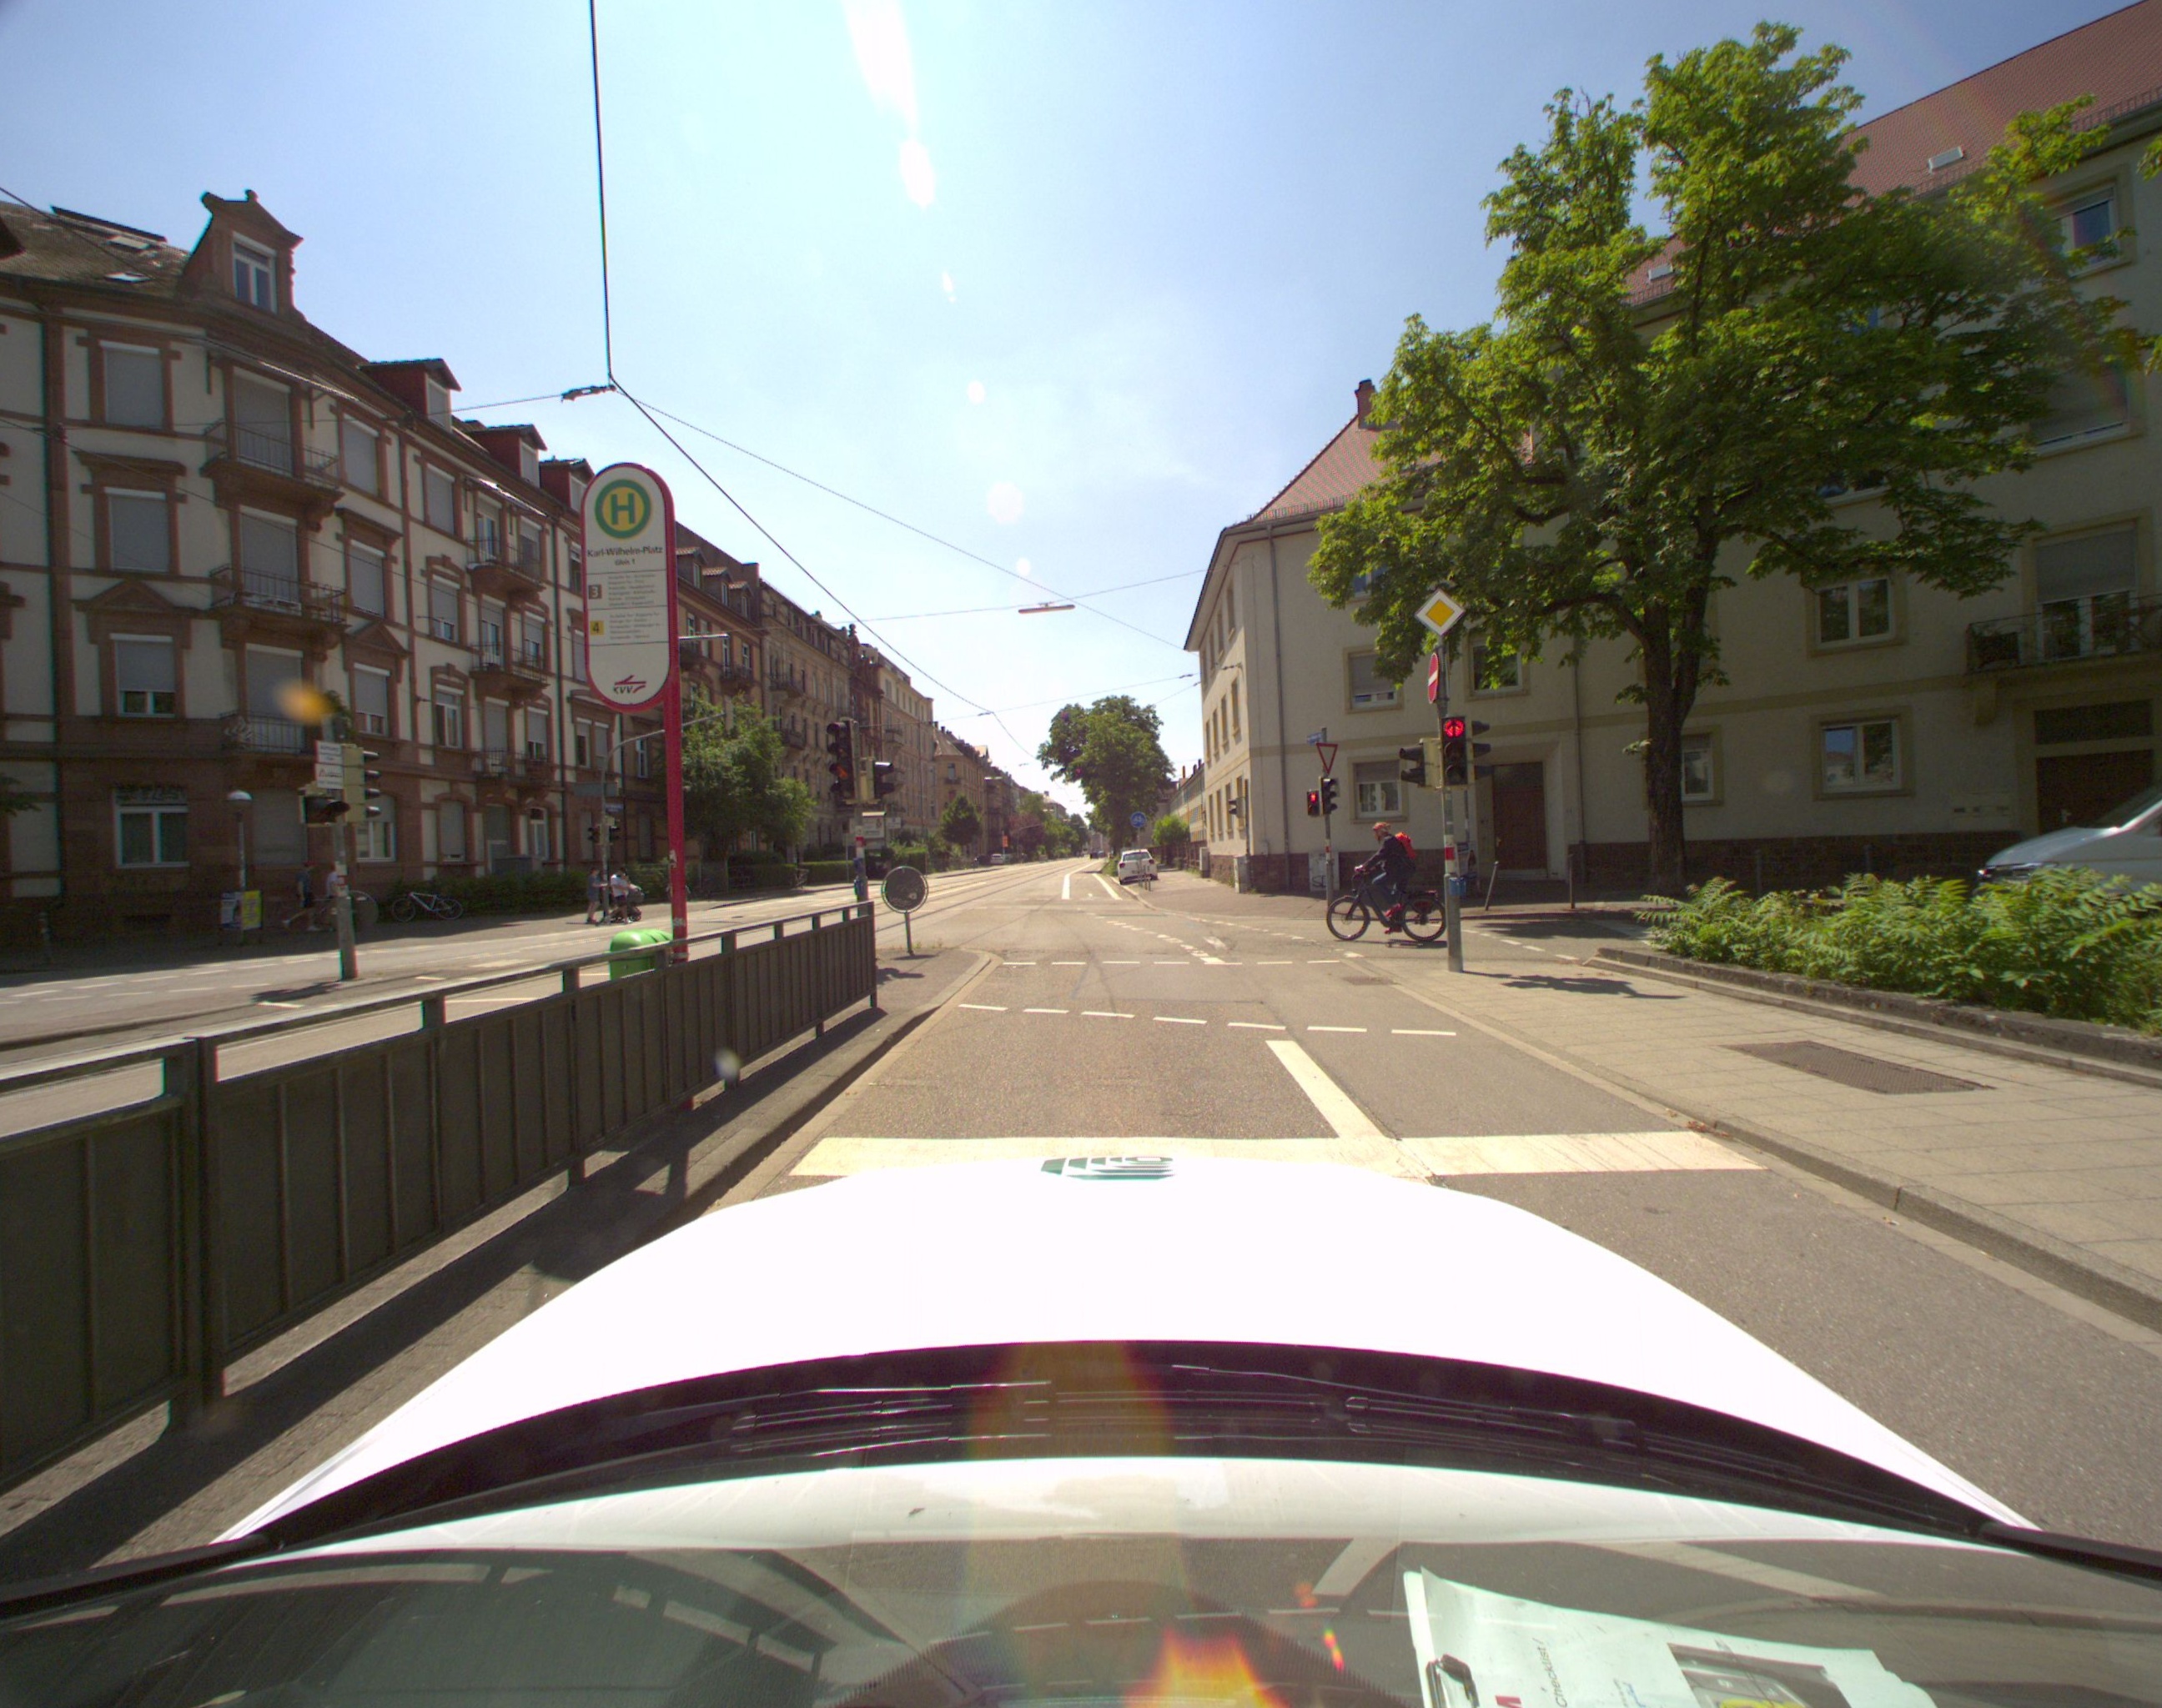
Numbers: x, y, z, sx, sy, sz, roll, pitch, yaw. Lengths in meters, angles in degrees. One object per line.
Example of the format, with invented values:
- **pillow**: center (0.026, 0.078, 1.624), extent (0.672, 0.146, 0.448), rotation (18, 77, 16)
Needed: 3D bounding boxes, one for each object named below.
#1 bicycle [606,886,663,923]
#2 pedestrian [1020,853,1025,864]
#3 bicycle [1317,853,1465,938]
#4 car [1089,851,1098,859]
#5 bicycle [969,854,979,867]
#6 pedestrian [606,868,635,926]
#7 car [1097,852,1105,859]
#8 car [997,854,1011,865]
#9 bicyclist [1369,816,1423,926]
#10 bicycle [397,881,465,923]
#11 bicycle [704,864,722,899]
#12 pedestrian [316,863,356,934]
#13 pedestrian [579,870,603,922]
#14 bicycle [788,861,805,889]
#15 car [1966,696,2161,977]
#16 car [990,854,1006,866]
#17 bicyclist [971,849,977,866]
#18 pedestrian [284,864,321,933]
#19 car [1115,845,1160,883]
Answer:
- **bicycle**: center (-13.425, 1.499, 24.496), extent (1.410, 1.013, 0.384), rotation (-2, 0, -39)
- **pedestrian**: center (-8.921, 0.723, 124.979), extent (0.675, 1.727, 0.677), rotation (-1, -1, 1)
- **bicycle**: center (4.762, 0.626, 12.556), extent (2.061, 1.236, 0.584), rotation (-2, -1, 26)
- **car**: center (2.457, 0.226, 162.897), extent (1.519, 1.444, 3.367), rotation (-4, 0, 2)
- **bicycle**: center (-11.599, 0.725, 88.395), extent (0.575, 1.388, 2.502), rotation (-1, 0, 2)
- **pedestrian**: center (-13.167, 1.213, 23.289), extent (0.657, 1.615, 0.464), rotation (-1, 2, -40)
- **car**: center (4.568, 0.260, 185.975), extent (1.741, 1.472, 3.939), rotation (-5, 0, 1)
- **car**: center (-11.796, 0.803, 124.409), extent (1.623, 1.472, 3.563), rotation (-5, 0, 0)
- **bicyclist**: center (4.846, 0.257, 12.514), extent (0.687, 1.646, 0.583), rotation (-2, -1, 25)
- **bicycle**: center (-19.301, 1.419, 24.209), extent (1.522, 1.169, 0.362), rotation (-1, 1, -25)
- **bicycle**: center (-15.597, 1.136, 34.517), extent (0.617, 1.395, 2.289), rotation (-1, 0, -24)
- **pedestrian**: center (-19.639, 1.154, 21.481), extent (0.565, 1.825, 0.631), rotation (-1, -1, -20)
- **pedestrian**: center (-14.565, 1.239, 24.208), extent (0.510, 1.516, 0.464), rotation (-1, -1, -40)
- **bicycle**: center (-14.416, 1.050, 41.276), extent (0.594, 1.356, 2.420), rotation (-1, 0, -24)
- **car**: center (11.762, -0.211, 6.758), extent (2.009, 2.590, 5.784), rotation (-1, -1, -37)
- **car**: center (-11.818, 0.816, 116.105), extent (1.679, 1.472, 3.937), rotation (-5, 0, 0)
- **bicyclist**: center (-11.613, 0.379, 88.301), extent (0.540, 1.763, 0.498), rotation (-1, -1, 1)
- **pedestrian**: center (-20.297, 1.152, 21.241), extent (0.508, 1.768, 0.525), rotation (-1, -1, -20)
- **car**: center (2.538, 0.442, 37.283), extent (1.741, 1.472, 3.939), rotation (-5, 0, 1)
